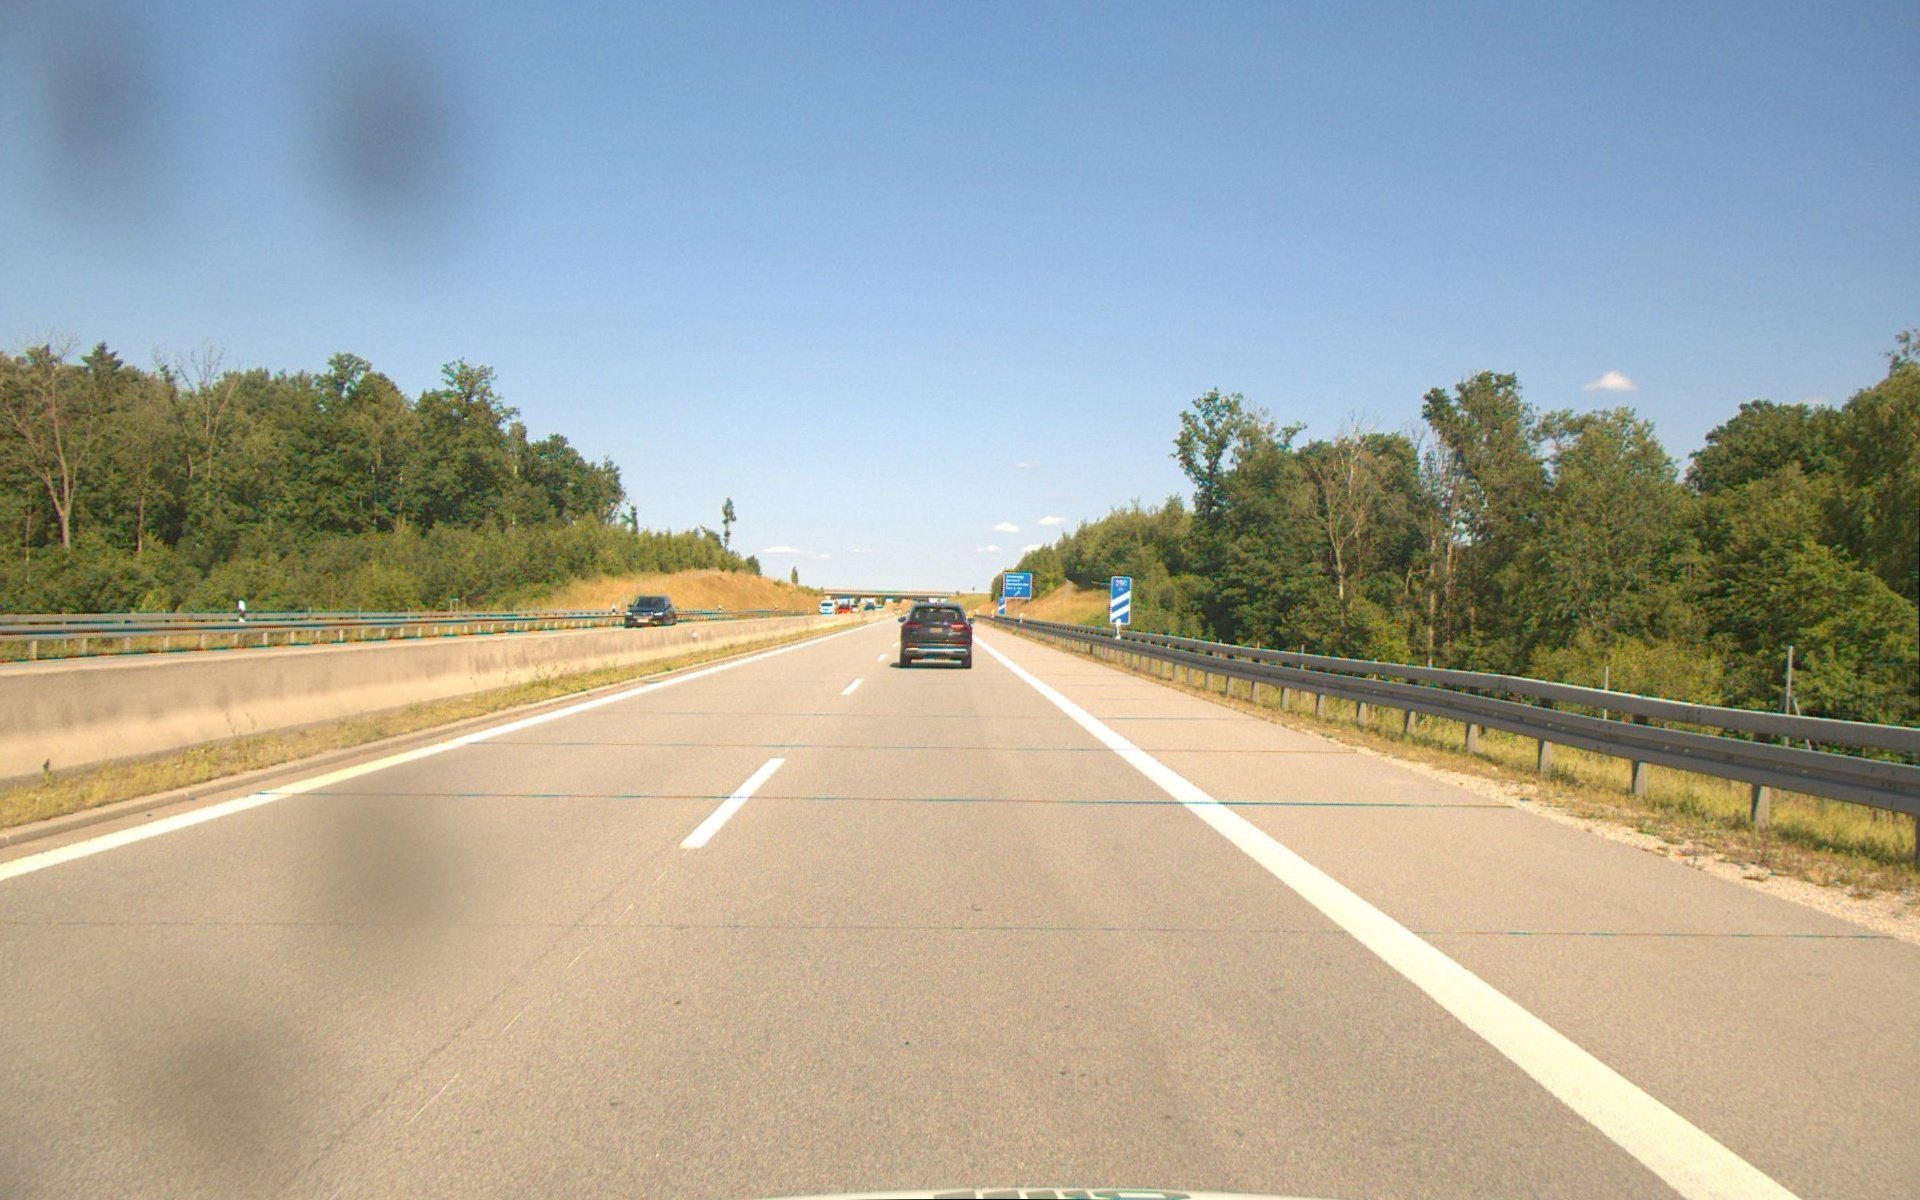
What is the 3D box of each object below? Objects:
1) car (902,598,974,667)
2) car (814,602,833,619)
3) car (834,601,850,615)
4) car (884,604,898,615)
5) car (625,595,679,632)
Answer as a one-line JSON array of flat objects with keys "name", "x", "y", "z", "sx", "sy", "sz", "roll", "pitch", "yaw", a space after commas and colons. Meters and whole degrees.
[{"name": "car", "x": -0.553, "y": 0.776, "z": 42.091, "sx": 1.687, "sy": 1.615, "sz": 5.221, "roll": 1, "pitch": 0, "yaw": -1}, {"name": "car", "x": -17.751, "y": 1.355, "z": 215.713, "sx": 1.953, "sy": 2.119, "sz": 6.226, "roll": 1, "pitch": 0, "yaw": -1}, {"name": "car", "x": -14.100, "y": 0.923, "z": 197.855, "sx": 1.633, "sy": 1.673, "sz": 4.888, "roll": 1, "pitch": 0, "yaw": -1}, {"name": "car", "x": -10.346, "y": 1.471, "z": 248.753, "sx": 1.953, "sy": 1.609, "sz": 4.648, "roll": 1, "pitch": 0, "yaw": -1}, {"name": "car", "x": -14.907, "y": 0.655, "z": 80.344, "sx": 1.862, "sy": 1.721, "sz": 4.268, "roll": 1, "pitch": 0, "yaw": -1}]
